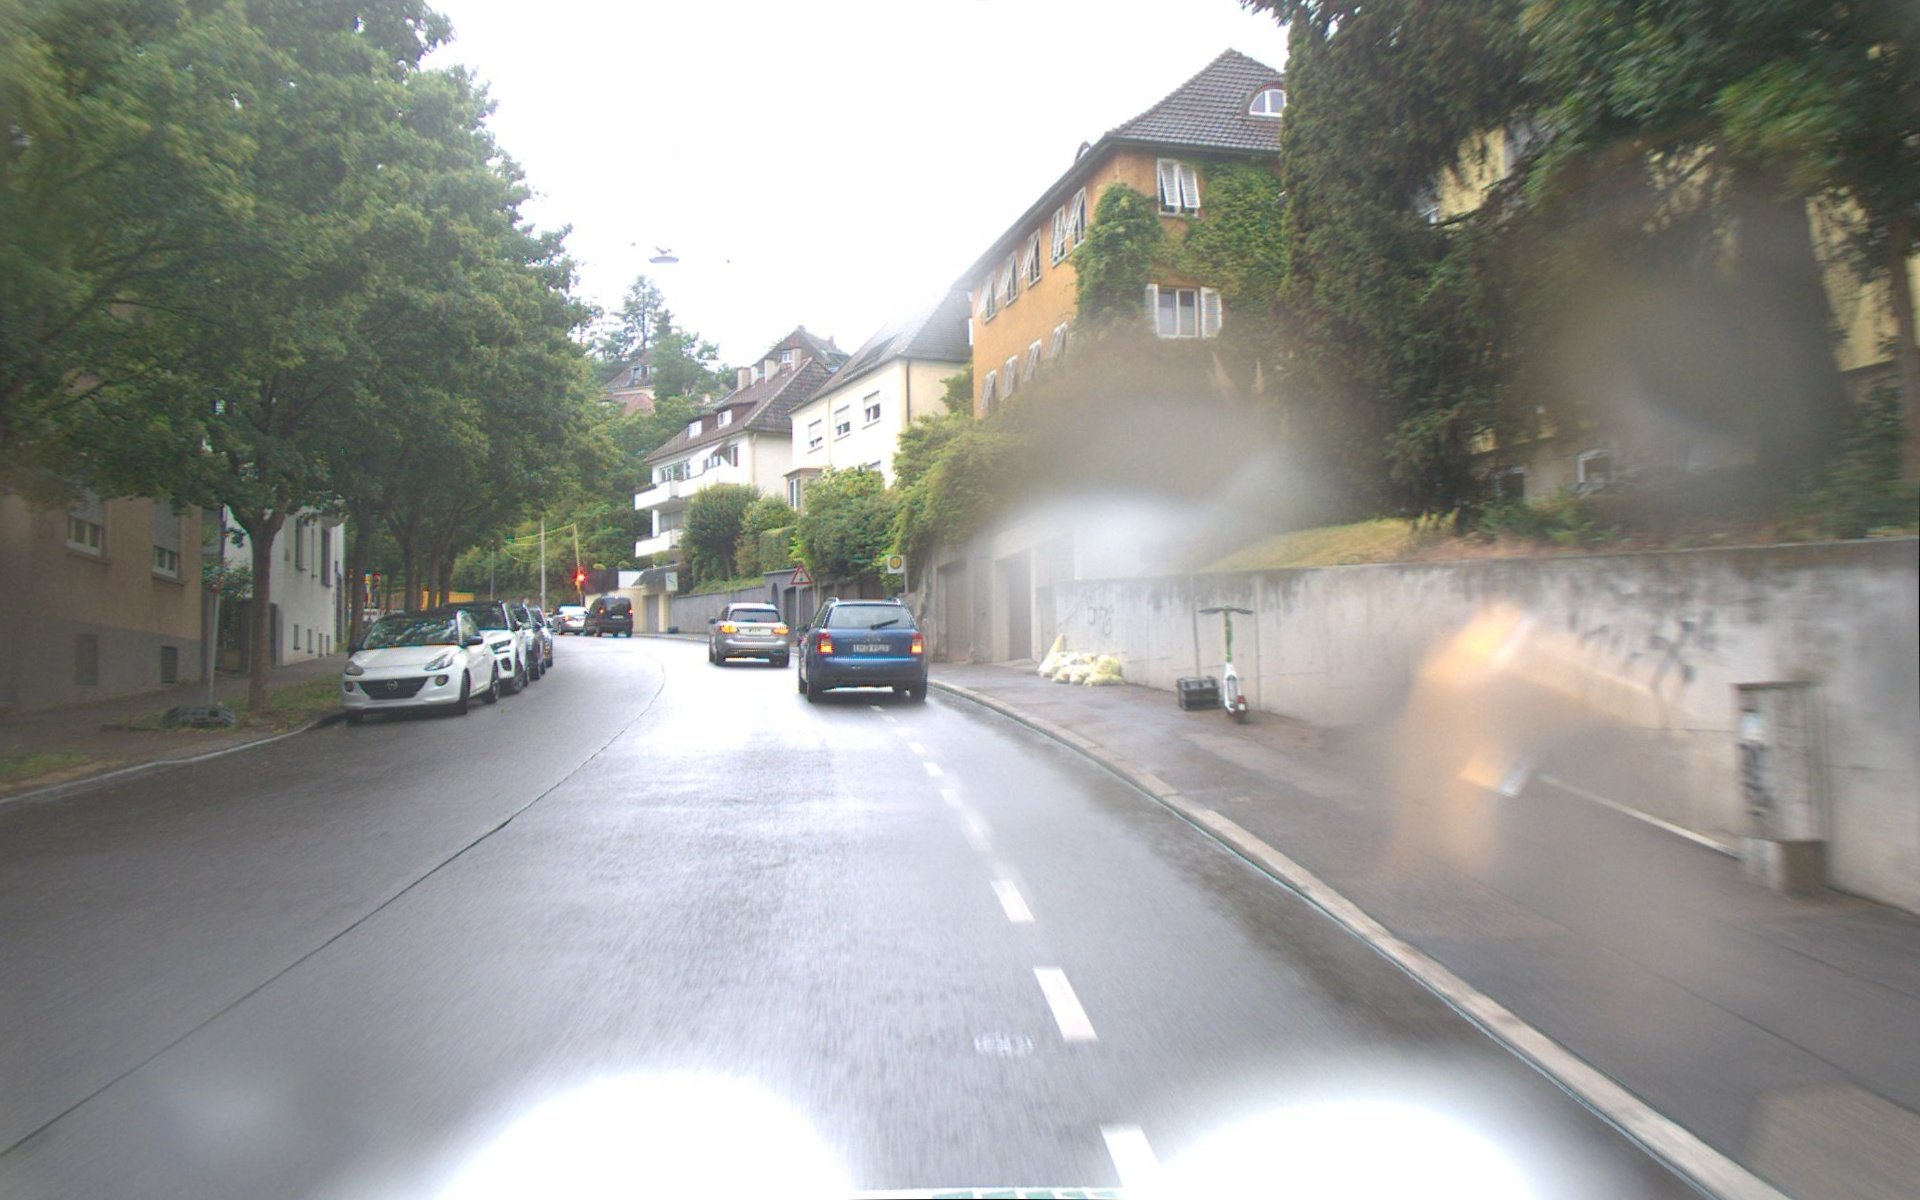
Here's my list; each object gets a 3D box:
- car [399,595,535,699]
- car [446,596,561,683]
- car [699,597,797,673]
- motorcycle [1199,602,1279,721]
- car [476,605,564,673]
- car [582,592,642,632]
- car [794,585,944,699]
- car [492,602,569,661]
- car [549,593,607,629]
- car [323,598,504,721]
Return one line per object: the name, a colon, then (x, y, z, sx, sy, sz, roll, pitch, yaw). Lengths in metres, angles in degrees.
car: (-8.587, 0.777, 29.110, 1.845, 1.624, 3.989, -2, 0, -11)
car: (-9.437, 0.805, 34.496, 1.959, 1.601, 3.988, -3, 0, -12)
car: (-5.227, 0.798, 40.378, 1.917, 1.588, 4.249, -1, 2, -14)
motorcycle: (2.882, 0.613, 17.192, 0.537, 1.151, 1.440, -2, 0, -1)
car: (-11.032, 0.962, 41.606, 1.960, 1.500, 3.984, -3, 0, -14)
car: (-16.274, 0.565, 77.276, 1.967, 1.713, 3.970, -2, 0, -24)
car: (-1.455, 0.595, 24.715, 1.819, 1.438, 4.353, -3, 0, -8)
car: (-12.222, 0.898, 46.921, 1.962, 1.500, 3.982, -3, 0, -16)
car: (-19.231, 0.571, 83.085, 1.969, 1.713, 3.966, -2, 0, -26)
car: (-7.904, 0.807, 24.275, 1.958, 1.556, 3.989, -2, 0, -11)
